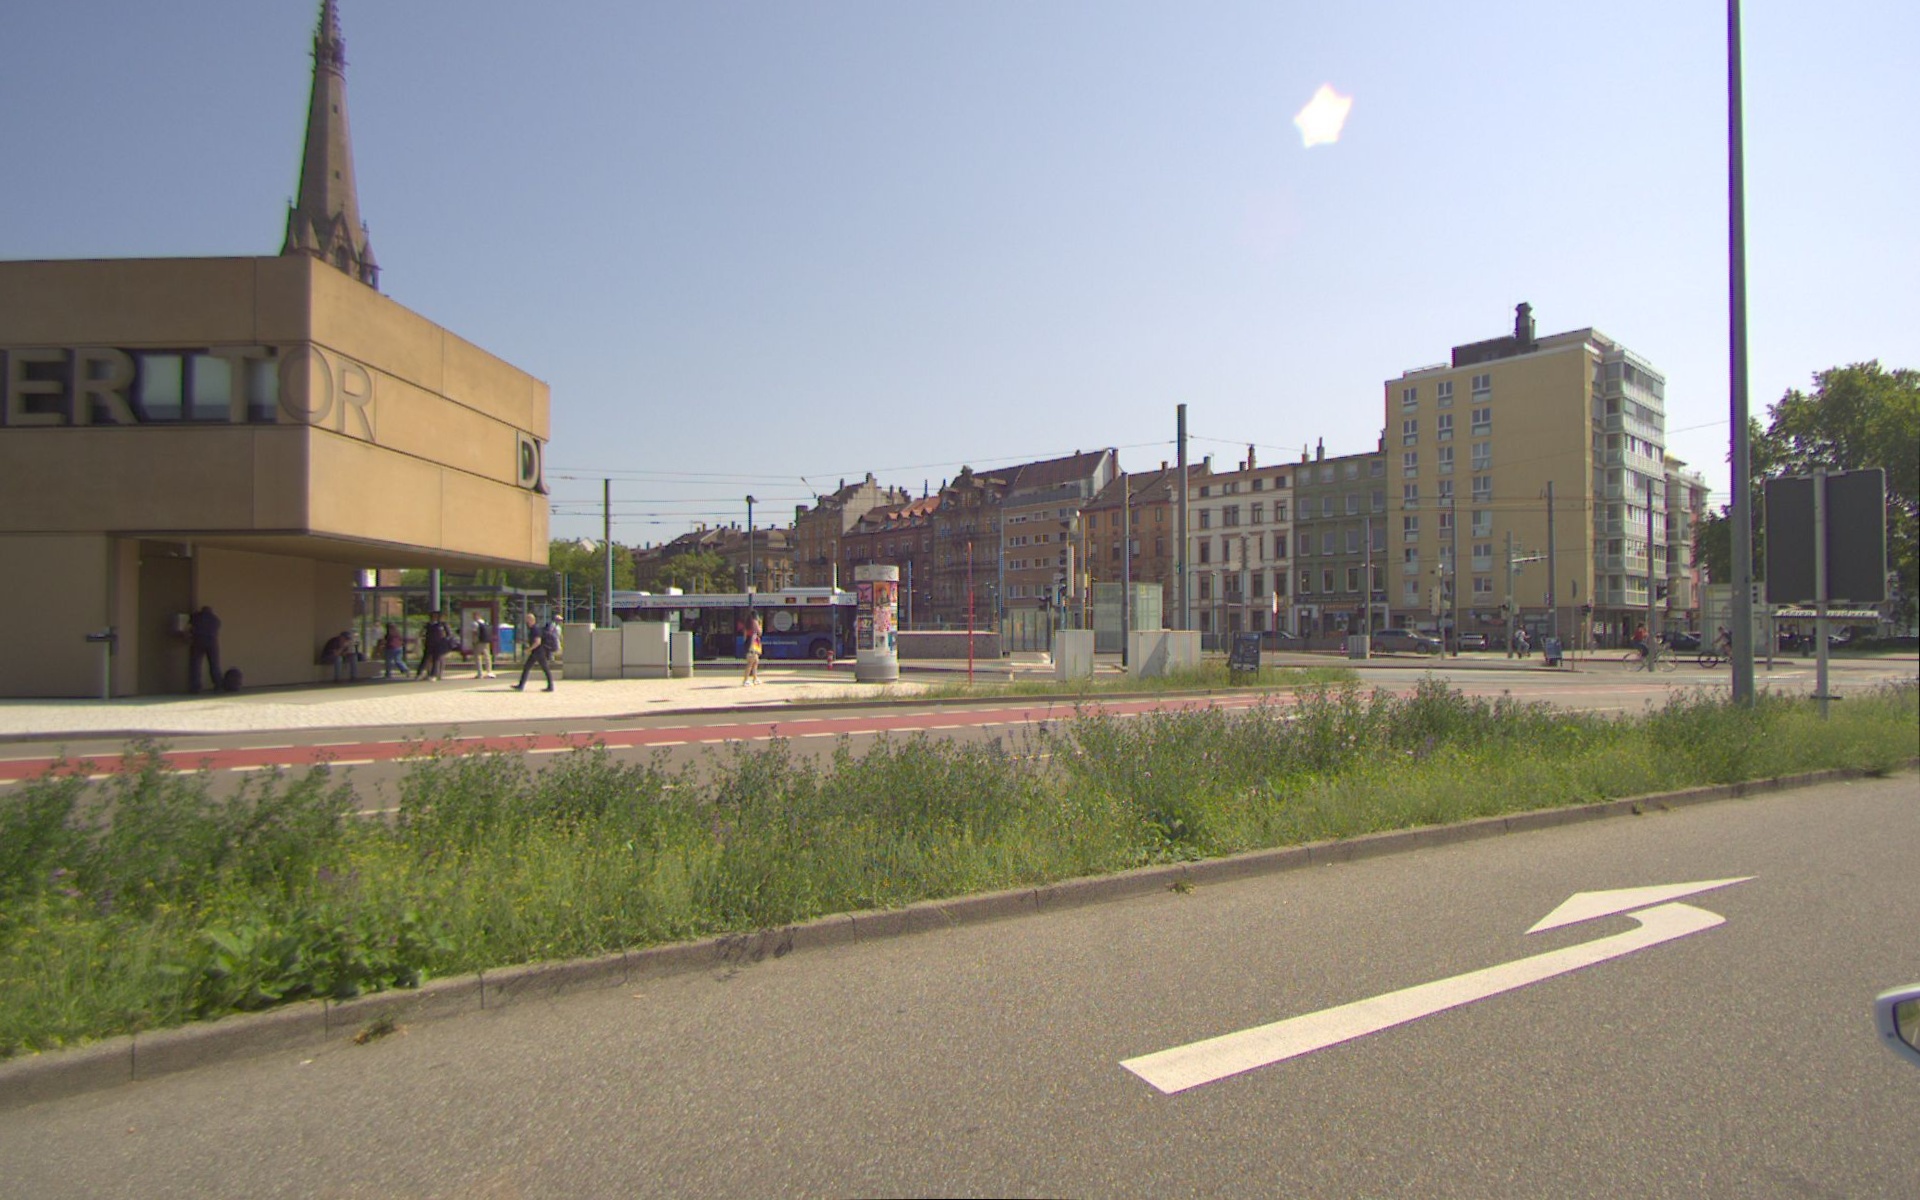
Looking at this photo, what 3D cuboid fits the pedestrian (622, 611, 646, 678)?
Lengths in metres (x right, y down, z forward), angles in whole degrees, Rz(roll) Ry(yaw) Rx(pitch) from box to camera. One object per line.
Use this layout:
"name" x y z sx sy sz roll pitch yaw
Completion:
"pedestrian" -8.896 1.210 27.424 0.541 1.786 0.696 0 -2 -11

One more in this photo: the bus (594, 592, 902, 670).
"bus" -8.674 1.309 42.133 12.233 3.111 3.108 0 -2 3

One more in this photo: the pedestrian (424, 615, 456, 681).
"pedestrian" -13.088 1.207 25.275 0.500 1.635 0.491 -1 -2 26

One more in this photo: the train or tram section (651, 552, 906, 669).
"train or tram section" -6.088 0.448 34.623 8.080 3.616 3.147 -2 -3 2

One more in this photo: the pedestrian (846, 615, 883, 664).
"pedestrian" -3.796 1.566 39.957 1.284 1.910 1.039 0 -2 4

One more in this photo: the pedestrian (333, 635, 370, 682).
"pedestrian" -14.178 1.357 23.415 0.490 1.098 0.541 0 -2 2

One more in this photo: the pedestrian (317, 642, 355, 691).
"pedestrian" -14.192 1.500 22.845 0.490 1.098 0.541 0 -2 2

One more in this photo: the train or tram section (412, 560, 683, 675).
"train or tram section" -14.131 0.675 34.890 8.080 3.616 3.147 -2 -3 2

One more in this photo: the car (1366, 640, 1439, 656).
"car" 27.854 2.997 63.293 3.842 1.000 1.706 -2 -3 44

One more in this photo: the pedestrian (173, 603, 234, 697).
"pedestrian" -14.163 0.923 18.809 0.622 1.711 0.744 -1 -2 36

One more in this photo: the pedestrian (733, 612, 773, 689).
"pedestrian" -4.816 1.161 23.373 0.615 1.725 0.788 -2 0 9

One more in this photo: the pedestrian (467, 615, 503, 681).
"pedestrian" -12.586 1.265 26.592 0.800 1.691 0.546 1 -2 -31

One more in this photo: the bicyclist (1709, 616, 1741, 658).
"bicyclist" 31.121 1.512 40.892 0.958 1.675 0.661 -1 -2 33

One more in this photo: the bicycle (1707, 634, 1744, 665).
"bicycle" 31.092 1.981 40.829 0.958 1.194 2.825 -1 -2 32

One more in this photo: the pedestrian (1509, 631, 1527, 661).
"pedestrian" 31.346 2.578 56.388 0.808 1.654 0.643 2 -2 -41

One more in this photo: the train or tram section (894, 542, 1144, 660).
"train or tram section" 1.964 0.122 34.370 8.080 3.616 3.147 -2 -3 2

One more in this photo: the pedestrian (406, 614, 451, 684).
"pedestrian" -12.667 1.160 23.948 0.679 1.635 0.639 0 -2 8

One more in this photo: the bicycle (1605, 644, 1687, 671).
"bicycle" 25.151 2.098 36.861 0.599 0.966 2.388 2 -3 -41

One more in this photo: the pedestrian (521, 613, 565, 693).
"pedestrian" -9.155 1.153 22.034 0.800 1.725 0.641 1 -2 -31

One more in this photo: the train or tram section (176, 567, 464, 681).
"train or tram section" -22.180 0.893 35.153 8.080 3.616 3.147 -2 -3 2

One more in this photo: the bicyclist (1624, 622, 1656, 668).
"bicyclist" 25.051 1.666 36.984 0.602 1.664 0.831 1 -2 -41

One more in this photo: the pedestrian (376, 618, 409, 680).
"pedestrian" -15.023 1.291 26.585 0.559 1.635 0.492 -1 -2 16
